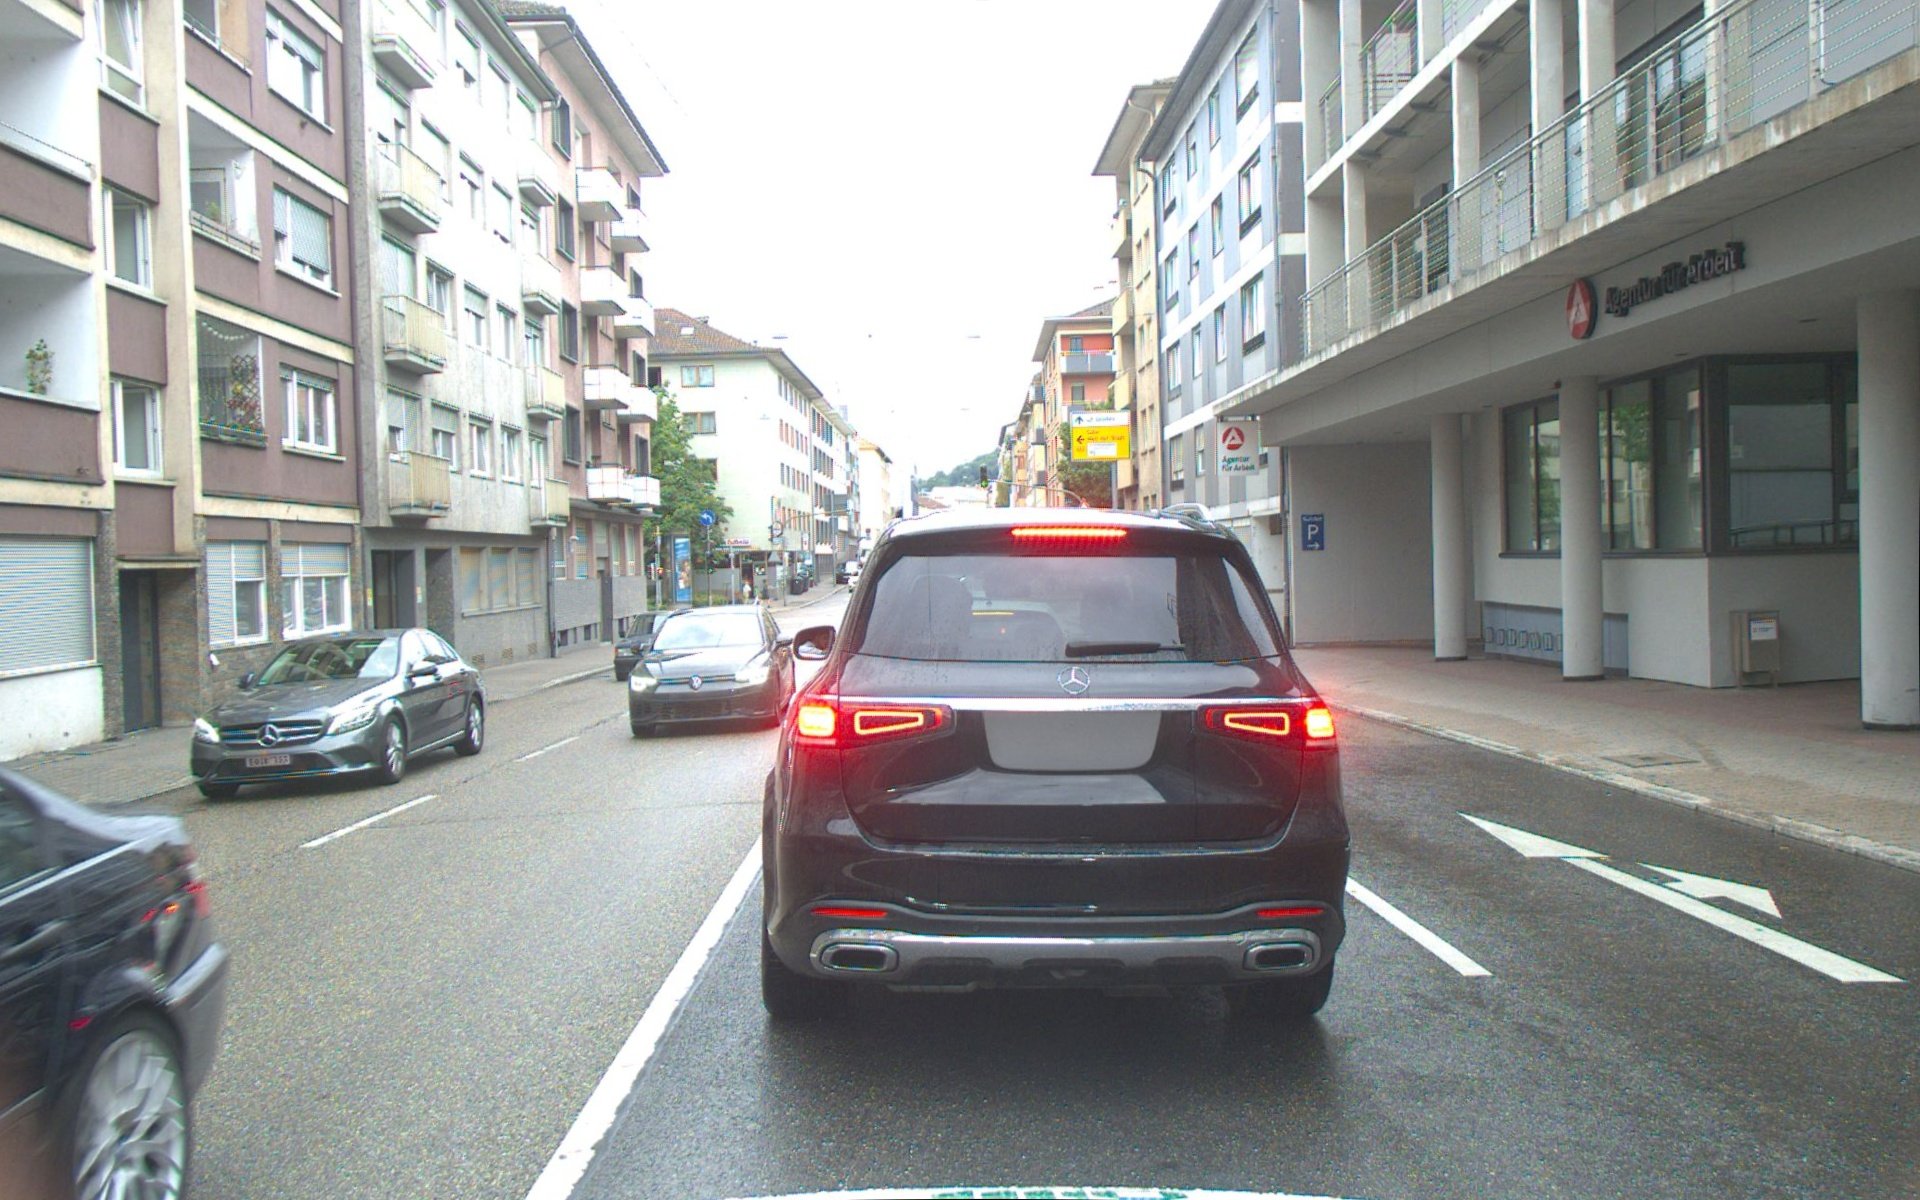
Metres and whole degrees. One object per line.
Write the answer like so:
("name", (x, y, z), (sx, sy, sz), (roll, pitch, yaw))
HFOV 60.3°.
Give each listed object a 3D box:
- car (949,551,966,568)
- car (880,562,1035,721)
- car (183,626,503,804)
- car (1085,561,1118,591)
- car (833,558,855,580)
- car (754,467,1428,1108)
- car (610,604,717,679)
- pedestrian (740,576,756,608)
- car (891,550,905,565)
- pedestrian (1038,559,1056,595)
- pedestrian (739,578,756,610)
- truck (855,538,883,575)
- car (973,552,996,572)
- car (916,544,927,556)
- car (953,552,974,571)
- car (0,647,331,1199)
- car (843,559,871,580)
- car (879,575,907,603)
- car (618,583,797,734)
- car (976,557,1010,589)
("car", (-0.290, -4.325, 177.708), (1.586, 1.566, 4.215), (-3, 0, -3))
("car", (-0.130, 0.481, 20.824), (1.716, 1.762, 4.215), (-1, 0, -3))
("car", (-6.032, 1.043, 16.739), (1.661, 1.394, 4.364), (-4, 0, -2))
("car", (8.091, -1.355, 94.614), (1.636, 1.616, 3.331), (-2, 1, 1))
("car", (-9.211, -2.476, 131.487), (1.586, 1.566, 4.215), (-3, 0, -3))
("car", (0.357, 0.558, 7.016), (1.944, 1.836, 4.389), (1, 0, -1))
("car", (-6.356, 0.845, 35.864), (1.566, 1.394, 4.361), (-4, 0, -2))
("pedestrian", (-13.059, -0.469, 101.921), (0.904, 1.935, 0.706), (-2, 0, -3))
("car", (-7.283, -4.932, 193.602), (1.586, 1.566, 4.215), (-3, 0, -3))
("pedestrian", (5.002, -1.330, 95.561), (0.904, 2.049, 0.706), (-2, 0, -3))
("pedestrian", (-11.921, -0.334, 92.791), (0.622, 1.795, 0.774), (-2, 0, 16))
("truck", (-8.601, -4.043, 156.939), (2.430, 3.099, 9.914), (-3, 0, -3))
("car", (2.026, -3.148, 137.765), (1.586, 1.411, 4.215), (-3, 0, -3))
("car", (-5.826, -7.563, 250.169), (1.586, 1.566, 4.215), (-3, 0, -3))
("car", (0.331, -3.464, 148.936), (1.586, 1.566, 4.215), (-3, 0, -3))
("car", (-2.613, 0.862, 2.506), (1.660, 1.394, 4.217), (-4, -1, 0))
("car", (-7.235, -2.106, 116.227), (1.848, 1.286, 4.215), (-3, 0, -3))
("car", (-4.128, -0.641, 101.167), (1.586, 1.566, 4.215), (-3, 0, -3))
("car", (-3.065, 0.686, 20.849), (1.661, 1.608, 4.216), (-4, -1, -2))
("car", (2.010, -1.641, 101.914), (1.689, 1.790, 4.215), (-3, 0, -3))
